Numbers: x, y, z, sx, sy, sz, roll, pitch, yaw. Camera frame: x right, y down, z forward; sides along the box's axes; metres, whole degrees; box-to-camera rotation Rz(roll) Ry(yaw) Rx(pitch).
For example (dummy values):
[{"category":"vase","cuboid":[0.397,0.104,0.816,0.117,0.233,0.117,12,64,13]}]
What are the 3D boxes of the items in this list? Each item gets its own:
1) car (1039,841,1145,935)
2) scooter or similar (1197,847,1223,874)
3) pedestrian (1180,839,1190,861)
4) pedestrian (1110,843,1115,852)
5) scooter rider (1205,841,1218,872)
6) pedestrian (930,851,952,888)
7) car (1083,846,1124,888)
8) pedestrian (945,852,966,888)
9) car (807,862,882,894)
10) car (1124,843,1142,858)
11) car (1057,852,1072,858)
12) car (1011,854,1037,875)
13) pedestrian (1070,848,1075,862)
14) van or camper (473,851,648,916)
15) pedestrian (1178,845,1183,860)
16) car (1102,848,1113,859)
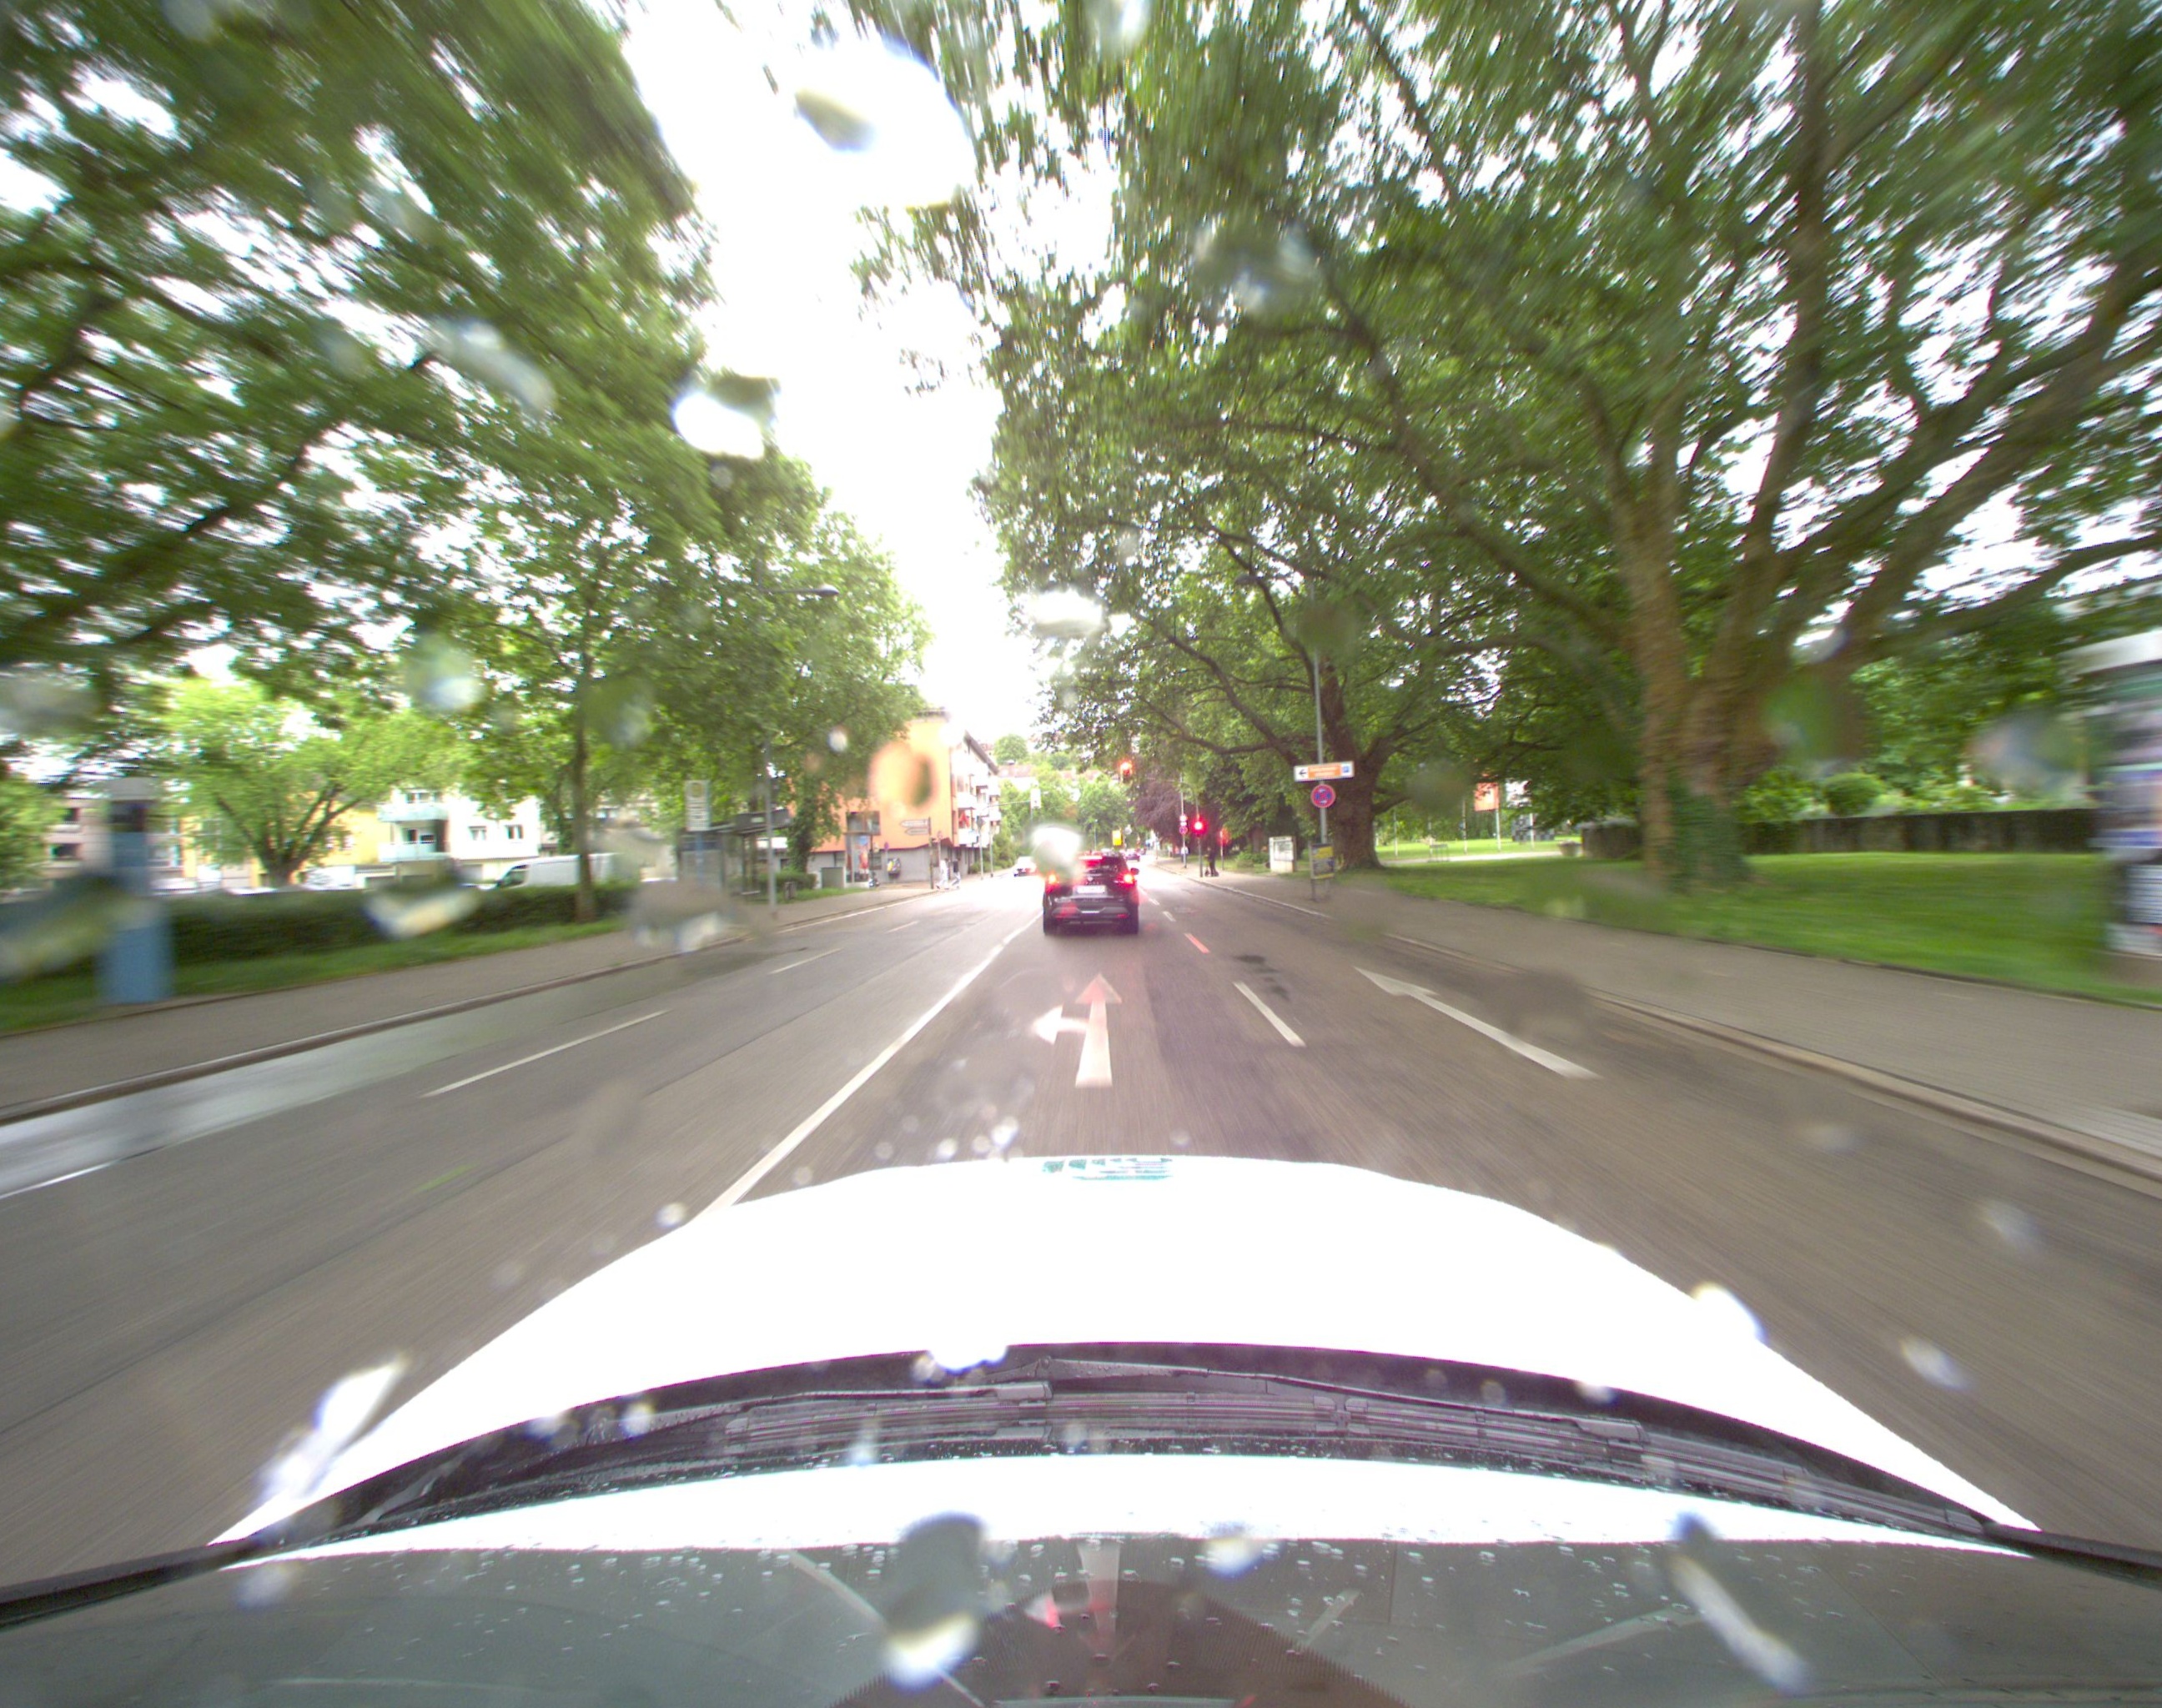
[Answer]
[{"category":"car","cuboid":[0.265,0.605,16.828,1.906,1.680,4.002,-1,0,2]},{"category":"scooter or similar","cuboid":[7.334,0.384,46.271,1.384,1.446,0.820,-2,-1,13]},{"category":"pedestrian","cuboid":[9.630,-0.363,75.220,0.722,2.013,0.852,-3,0,1]},{"category":"pedestrian","cuboid":[6.095,-1.181,157.738,0.503,1.673,0.663,-3,0,29]},{"category":"scooter rider","cuboid":[7.420,0.153,46.266,0.638,1.766,0.738,-2,-1,15]},{"category":"pedestrian","cuboid":[-7.425,0.829,43.120,1.035,1.876,0.656,-3,0,-10]},{"category":"car","cuboid":[1.018,0.546,37.191,1.692,1.745,3.642,-3,0,1]},{"category":"pedestrian","cuboid":[-6.777,0.832,43.964,1.035,1.876,0.656,-3,0,-10]},{"category":"car","cuboid":[-14.203,1.428,48.874,4.138,1.625,1.839,-3,0,-20]},{"category":"car","cuboid":[6.260,-0.384,98.073,1.983,1.735,4.007,0,0,6]},{"category":"car","cuboid":[-4.005,0.249,192.533,3.433,1.552,1.757,0,0,-5]},{"category":"car","cuboid":[-4.459,0.817,64.031,1.791,1.533,3.864,-3,0,-2]},{"category":"pedestrian","cuboid":[-1.069,0.104,103.121,0.506,1.802,0.620,-3,0,1]},{"category":"van or camper","cuboid":[-17.683,0.959,27.833,4.582,1.949,1.999,-2,0,-1]},{"category":"pedestrian","cuboid":[9.700,-0.144,79.624,0.388,1.502,0.559,-3,0,1]},{"category":"car","cuboid":[3.953,-0.020,121.043,1.628,1.532,3.969,-3,0,1]}]
